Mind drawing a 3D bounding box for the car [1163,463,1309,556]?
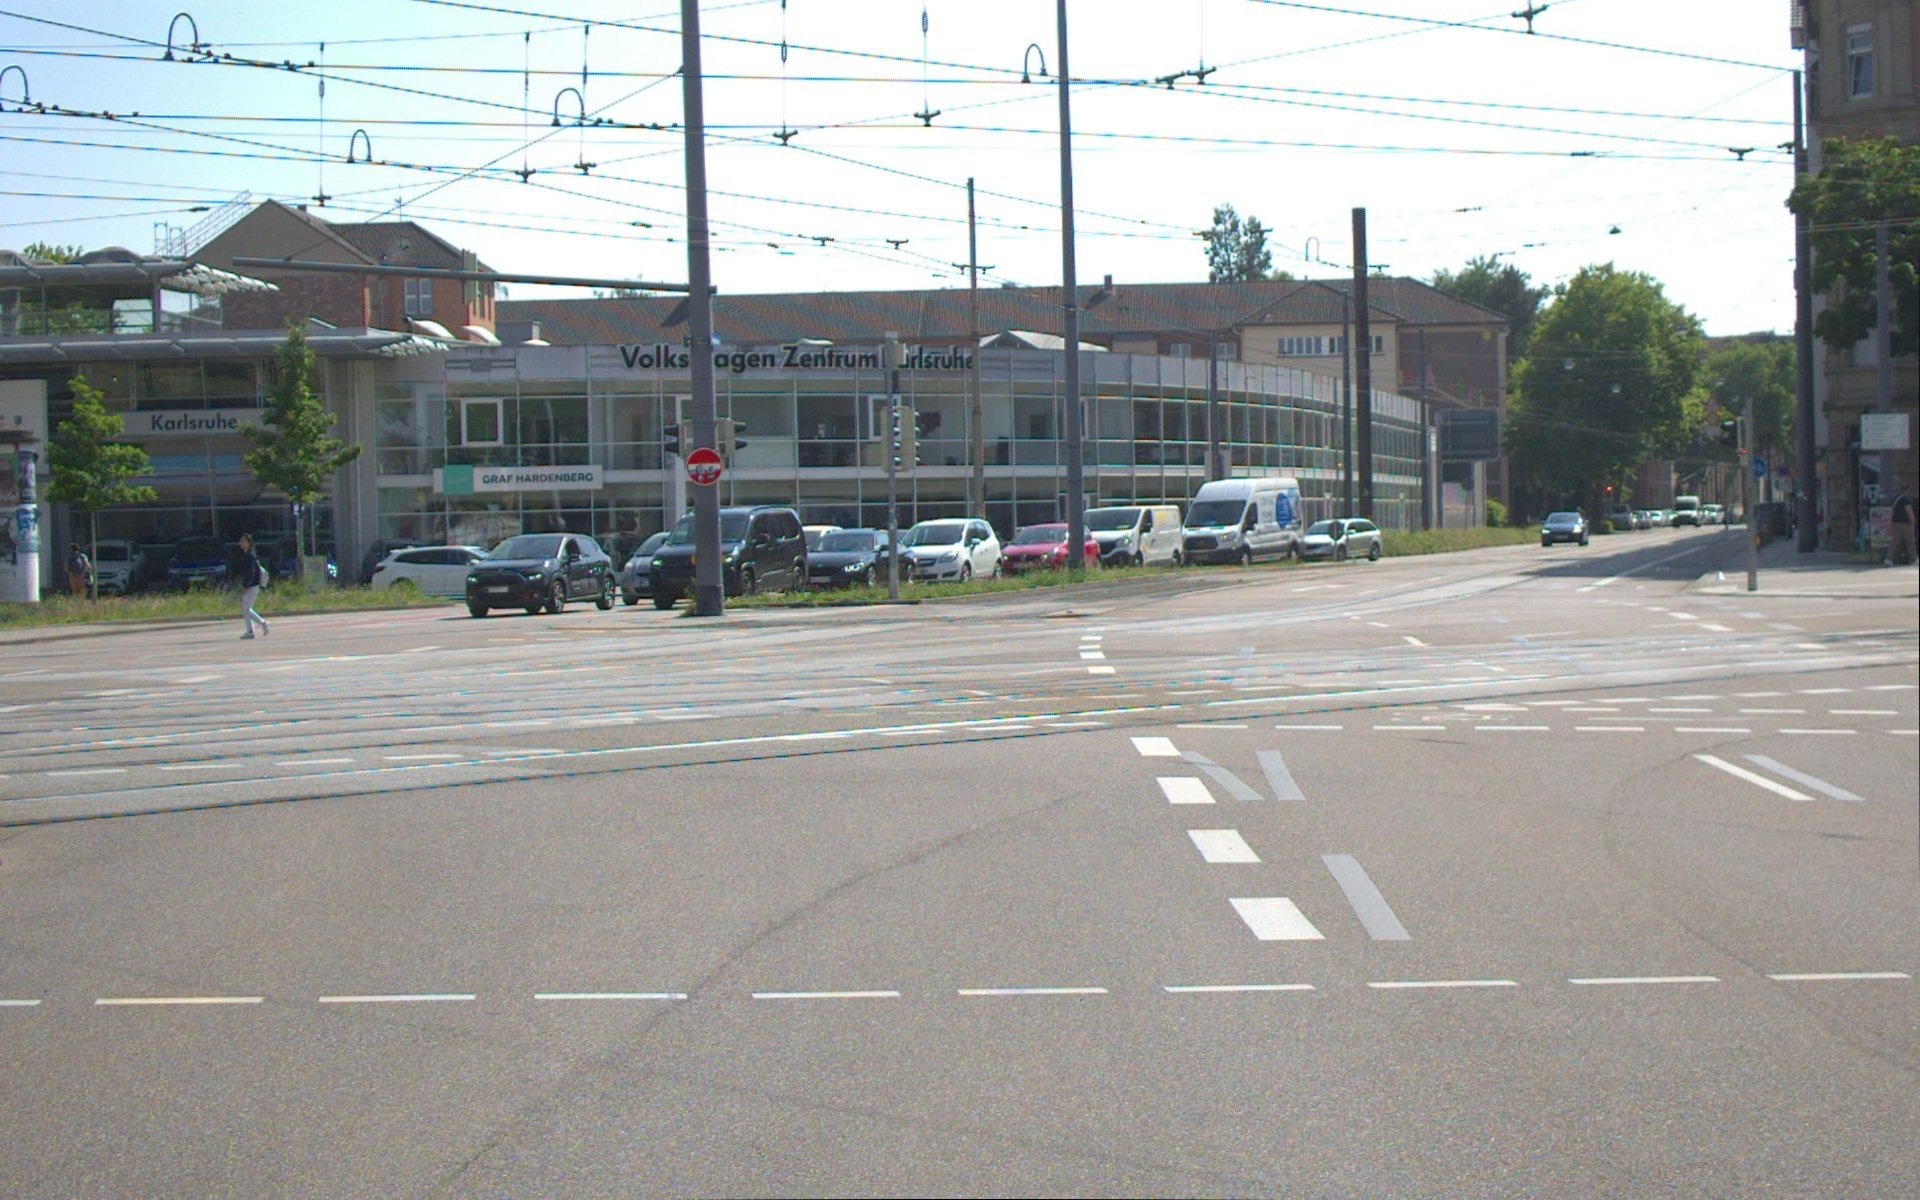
[{"bbox_3d":[8.039,-2.590,99.491,2.211,2.566,5.867,1,1,26],"label":"car"}]

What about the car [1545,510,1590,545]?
[{"bbox_3d":[25.726,-3.053,145.544,1.385,1.409,3.010,1,1,19],"label":"car"}]

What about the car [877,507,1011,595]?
[{"bbox_3d":[-0.336,-1.090,78.432,1.896,1.910,4.197,-1,0,17],"label":"car"}]

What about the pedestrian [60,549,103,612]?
[{"bbox_3d":[-22.213,-0.498,86.917,0.953,1.574,0.534,1,0,-3],"label":"pedestrian"}]

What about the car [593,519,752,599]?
[{"bbox_3d":[-5.879,-0.830,70.790,1.896,1.582,3.997,-1,0,17],"label":"car"}]

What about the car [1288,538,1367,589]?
[{"bbox_3d":[12.037,-1.198,112.576,1.386,1.619,3.334,1,1,29],"label":"car"}]

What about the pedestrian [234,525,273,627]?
[{"bbox_3d":[-11.086,-0.381,53.970,0.453,1.599,0.400,1,0,-36],"label":"pedestrian"}]

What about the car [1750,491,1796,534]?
[{"bbox_3d":[39.136,-4.199,165.421,2.110,2.007,3.998,-1,1,14],"label":"car"}]

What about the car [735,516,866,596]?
[{"bbox_3d":[-3.575,-0.984,77.974,1.653,1.733,4.197,-1,0,17],"label":"car"}]

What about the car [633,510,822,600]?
[{"bbox_3d":[-4.313,-0.876,64.589,1.962,1.582,4.713,-1,1,17],"label":"car"}]

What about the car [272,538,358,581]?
[{"bbox_3d":[-18.742,-1.189,99.969,1.830,1.191,4.000,1,1,-2],"label":"car"}]

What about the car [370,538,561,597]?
[{"bbox_3d":[-12.560,-0.833,87.365,4.587,1.431,1.443,1,0,13],"label":"car"}]

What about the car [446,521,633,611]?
[{"bbox_3d":[-7.775,-0.619,63.981,1.893,1.582,4.207,-1,0,17],"label":"car"}]

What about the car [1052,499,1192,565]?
[{"bbox_3d":[4.405,-1.842,92.450,2.188,1.675,5.024,-1,1,22],"label":"car"}]

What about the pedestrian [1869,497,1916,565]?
[{"bbox_3d":[19.848,-1.470,73.189,0.612,1.428,0.712,0,0,-38],"label":"pedestrian"}]

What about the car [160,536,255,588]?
[{"bbox_3d":[-21.935,-1.119,100.358,1.993,1.481,4.000,1,1,-2],"label":"car"}]

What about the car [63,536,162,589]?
[{"bbox_3d":[-24.720,-1.103,100.386,1.993,1.481,4.000,1,1,-2],"label":"car"}]

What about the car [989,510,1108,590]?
[{"bbox_3d":[2.235,-1.216,85.329,1.896,1.910,4.197,-1,0,17],"label":"car"}]

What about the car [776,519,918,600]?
[{"bbox_3d":[-2.311,-0.824,71.141,1.895,1.582,3.997,-1,0,14],"label":"car"}]
